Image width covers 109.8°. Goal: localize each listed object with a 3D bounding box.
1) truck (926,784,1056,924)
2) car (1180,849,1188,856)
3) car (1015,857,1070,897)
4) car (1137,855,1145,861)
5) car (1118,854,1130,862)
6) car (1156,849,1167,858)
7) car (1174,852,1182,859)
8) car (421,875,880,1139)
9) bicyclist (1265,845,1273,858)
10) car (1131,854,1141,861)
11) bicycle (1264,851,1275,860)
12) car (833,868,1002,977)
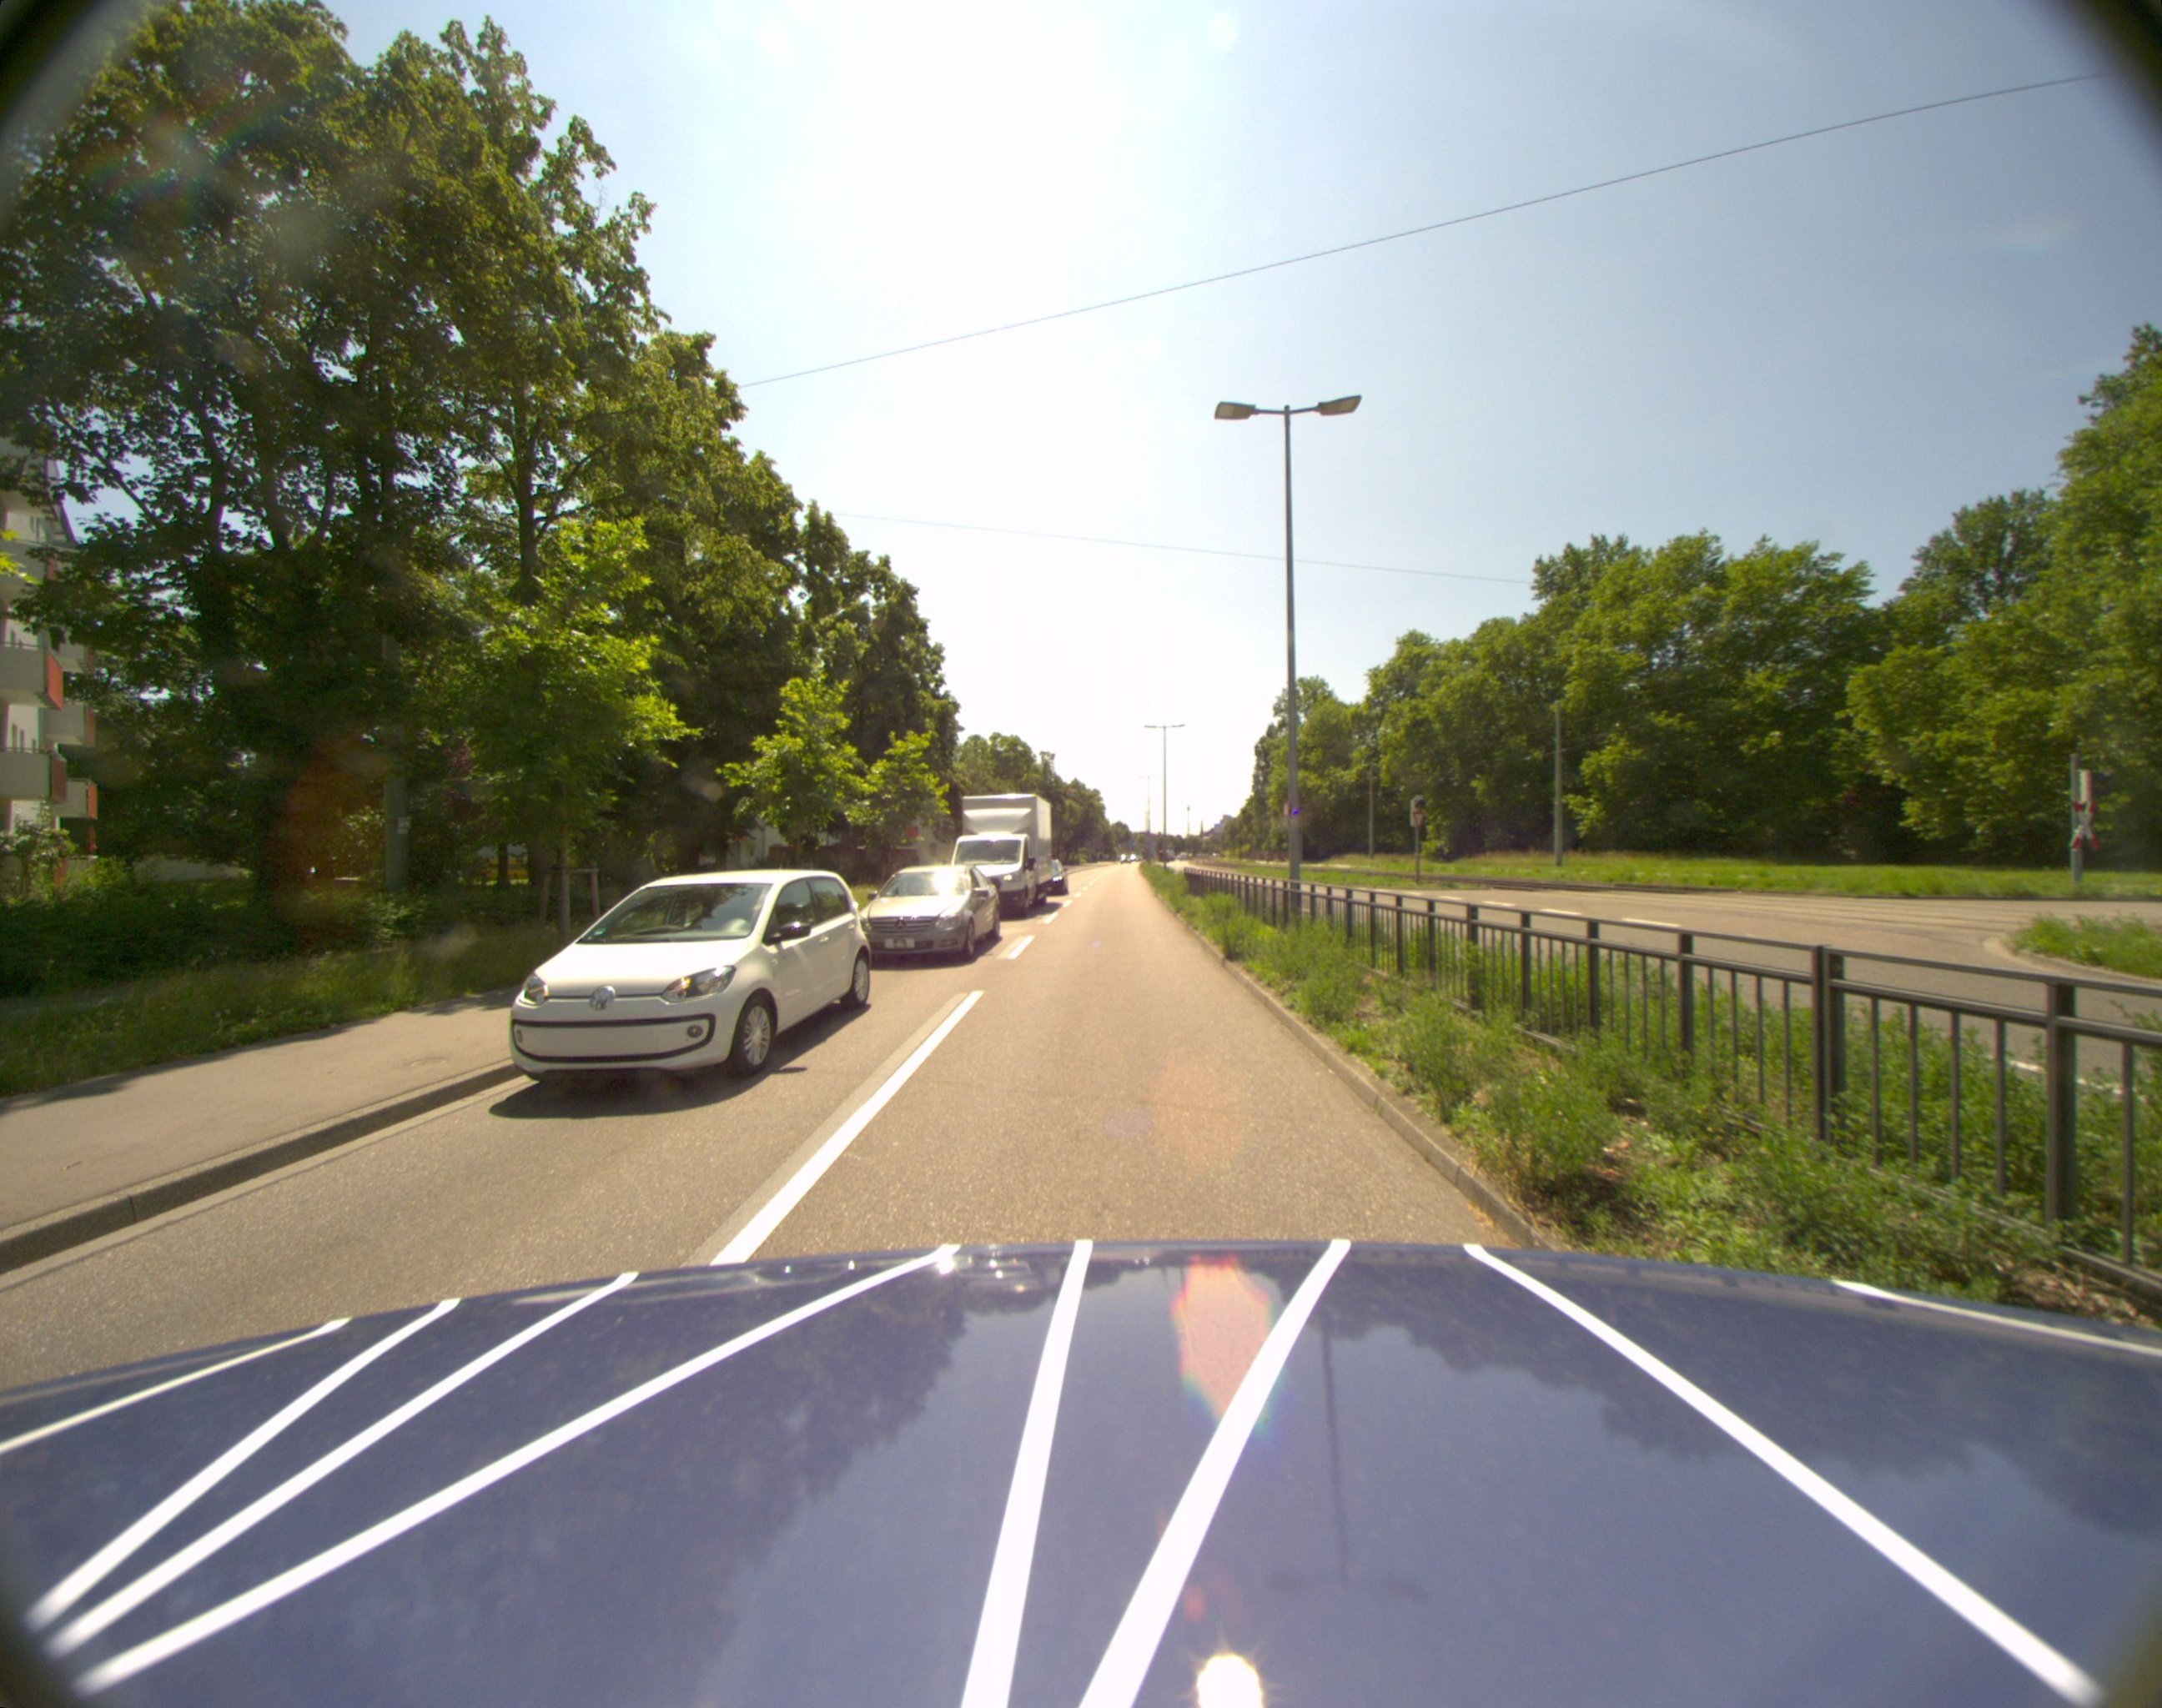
[{"bbox_3d":[-2.297,-0.011,22.280,2.433,3.326,7.923,-1,0,3],"label":"truck"},{"bbox_3d":[27.268,-0.419,200.733,1.998,1.847,4.001,-1,0,5],"label":"car"},{"bbox_3d":[-1.509,0.911,31.488,1.998,1.499,4.000,-1,0,1],"label":"car"},{"bbox_3d":[16.198,1.026,206.252,1.997,1.499,4.002,-1,0,7],"label":"car"},{"bbox_3d":[8.372,0.714,146.542,1.997,1.499,4.002,-1,0,7],"label":"car"},{"bbox_3d":[16.333,-0.162,153.883,1.997,1.847,4.002,-1,0,7],"label":"car"},{"bbox_3d":[26.495,0.306,207.088,1.998,1.847,4.001,-1,0,5],"label":"car"},{"bbox_3d":[-3.123,0.986,6.520,1.730,1.470,3.771,-1,0,1],"label":"car"},{"bbox_3d":[26.762,-0.328,107.967,0.862,1.796,1.118,-1,1,1],"label":"bicyclist"},{"bbox_3d":[13.230,0.899,182.495,1.997,1.499,4.002,-1,0,7],"label":"car"},{"bbox_3d":[26.748,0.225,108.030,0.862,1.155,2.787,-1,0,1],"label":"bicycle"},{"bbox_3d":[-2.472,0.983,12.541,1.840,1.400,4.087,-1,0,1],"label":"car"}]
